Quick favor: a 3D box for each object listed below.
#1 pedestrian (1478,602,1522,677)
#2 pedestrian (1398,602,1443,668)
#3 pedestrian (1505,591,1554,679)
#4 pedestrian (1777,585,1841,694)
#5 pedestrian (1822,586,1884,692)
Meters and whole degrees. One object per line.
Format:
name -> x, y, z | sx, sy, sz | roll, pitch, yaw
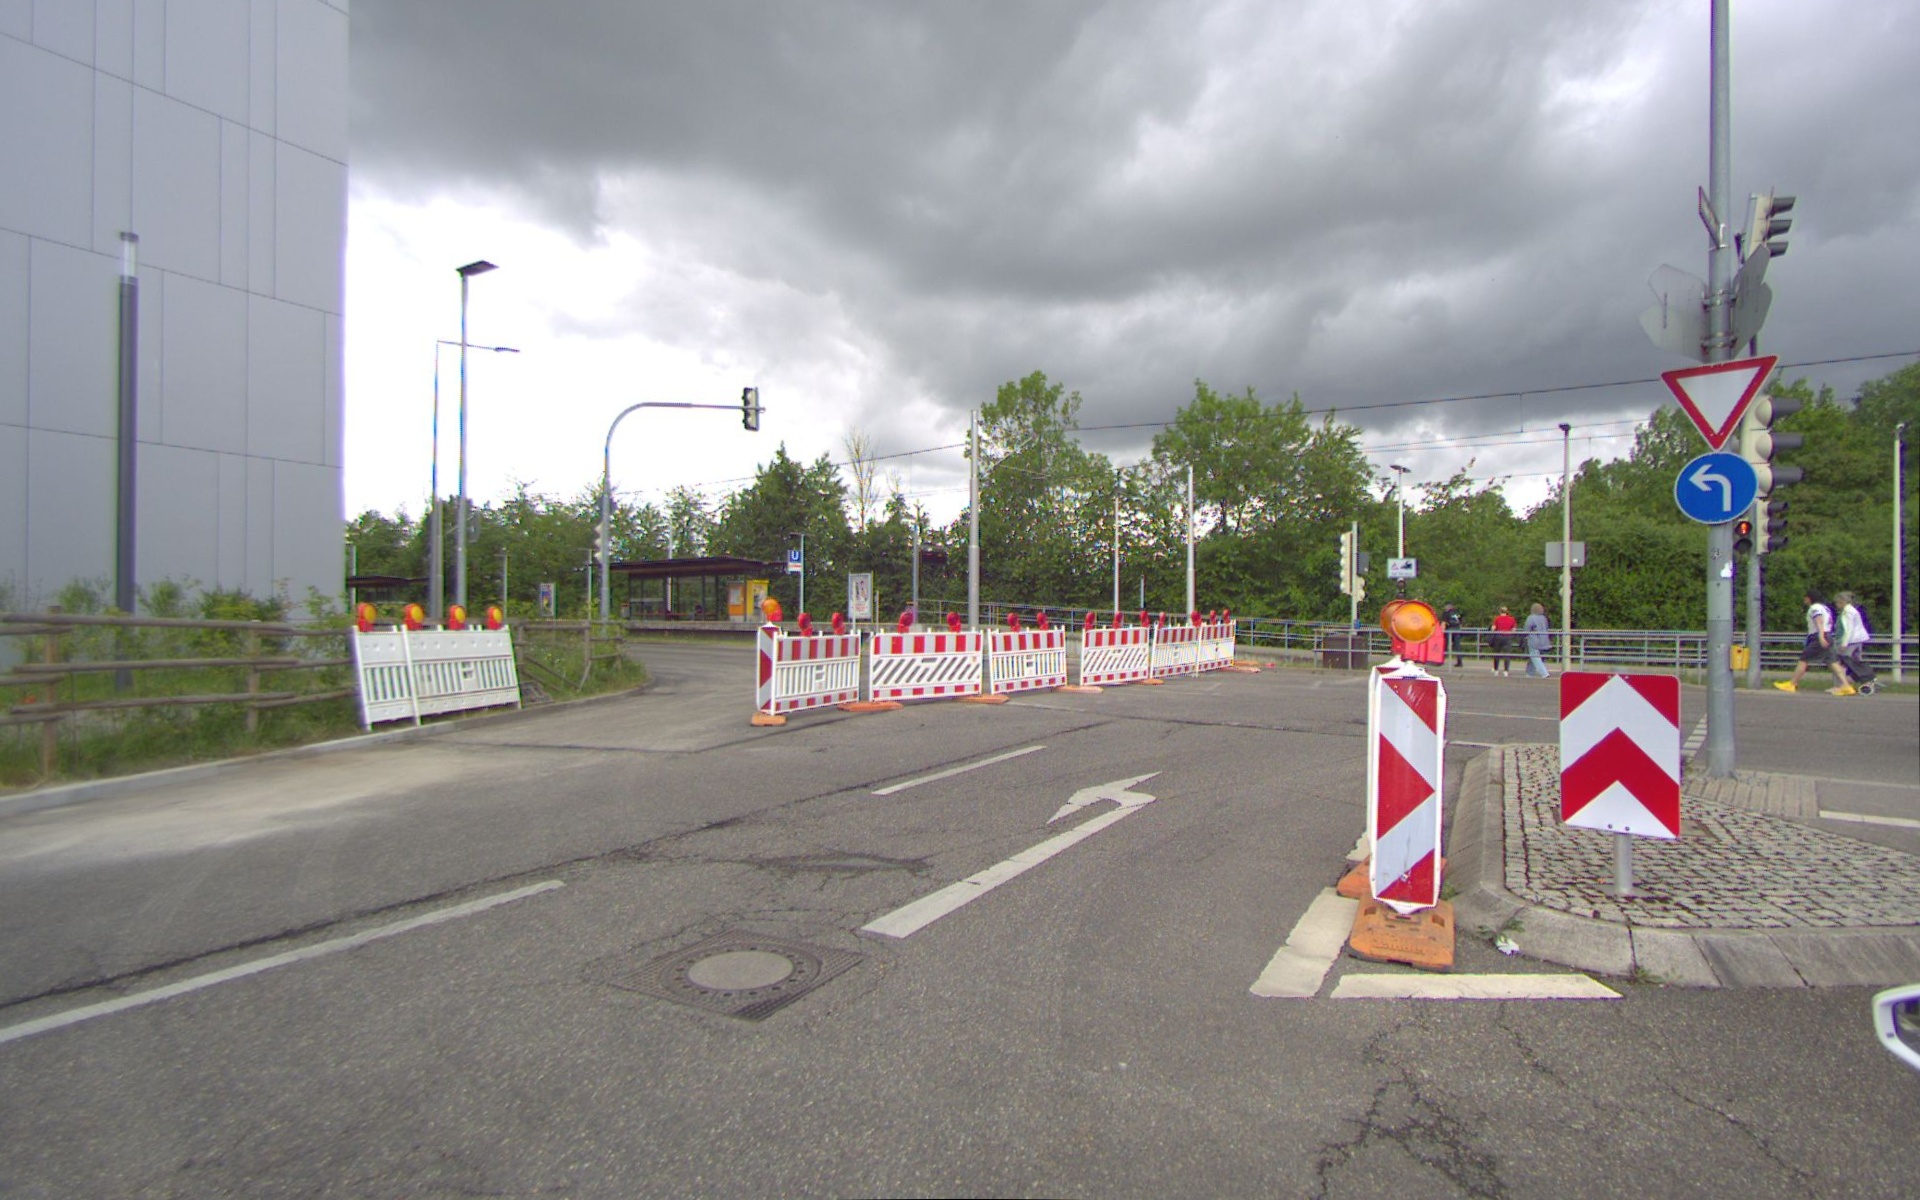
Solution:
pedestrian -> 12.138, 0.875, 22.569 | 0.712, 1.643, 0.801 | 0, 0, 41
pedestrian -> 12.564, 0.944, 27.440 | 0.709, 1.771, 0.956 | 1, 0, -9
pedestrian -> 11.872, 0.717, 20.950 | 0.712, 1.771, 0.952 | 0, 0, 41
pedestrian -> 14.240, 0.643, 16.852 | 0.950, 1.771, 0.713 | 1, 0, -43
pedestrian -> 15.436, 0.662, 17.356 | 0.950, 1.771, 0.713 | 1, 0, -43
